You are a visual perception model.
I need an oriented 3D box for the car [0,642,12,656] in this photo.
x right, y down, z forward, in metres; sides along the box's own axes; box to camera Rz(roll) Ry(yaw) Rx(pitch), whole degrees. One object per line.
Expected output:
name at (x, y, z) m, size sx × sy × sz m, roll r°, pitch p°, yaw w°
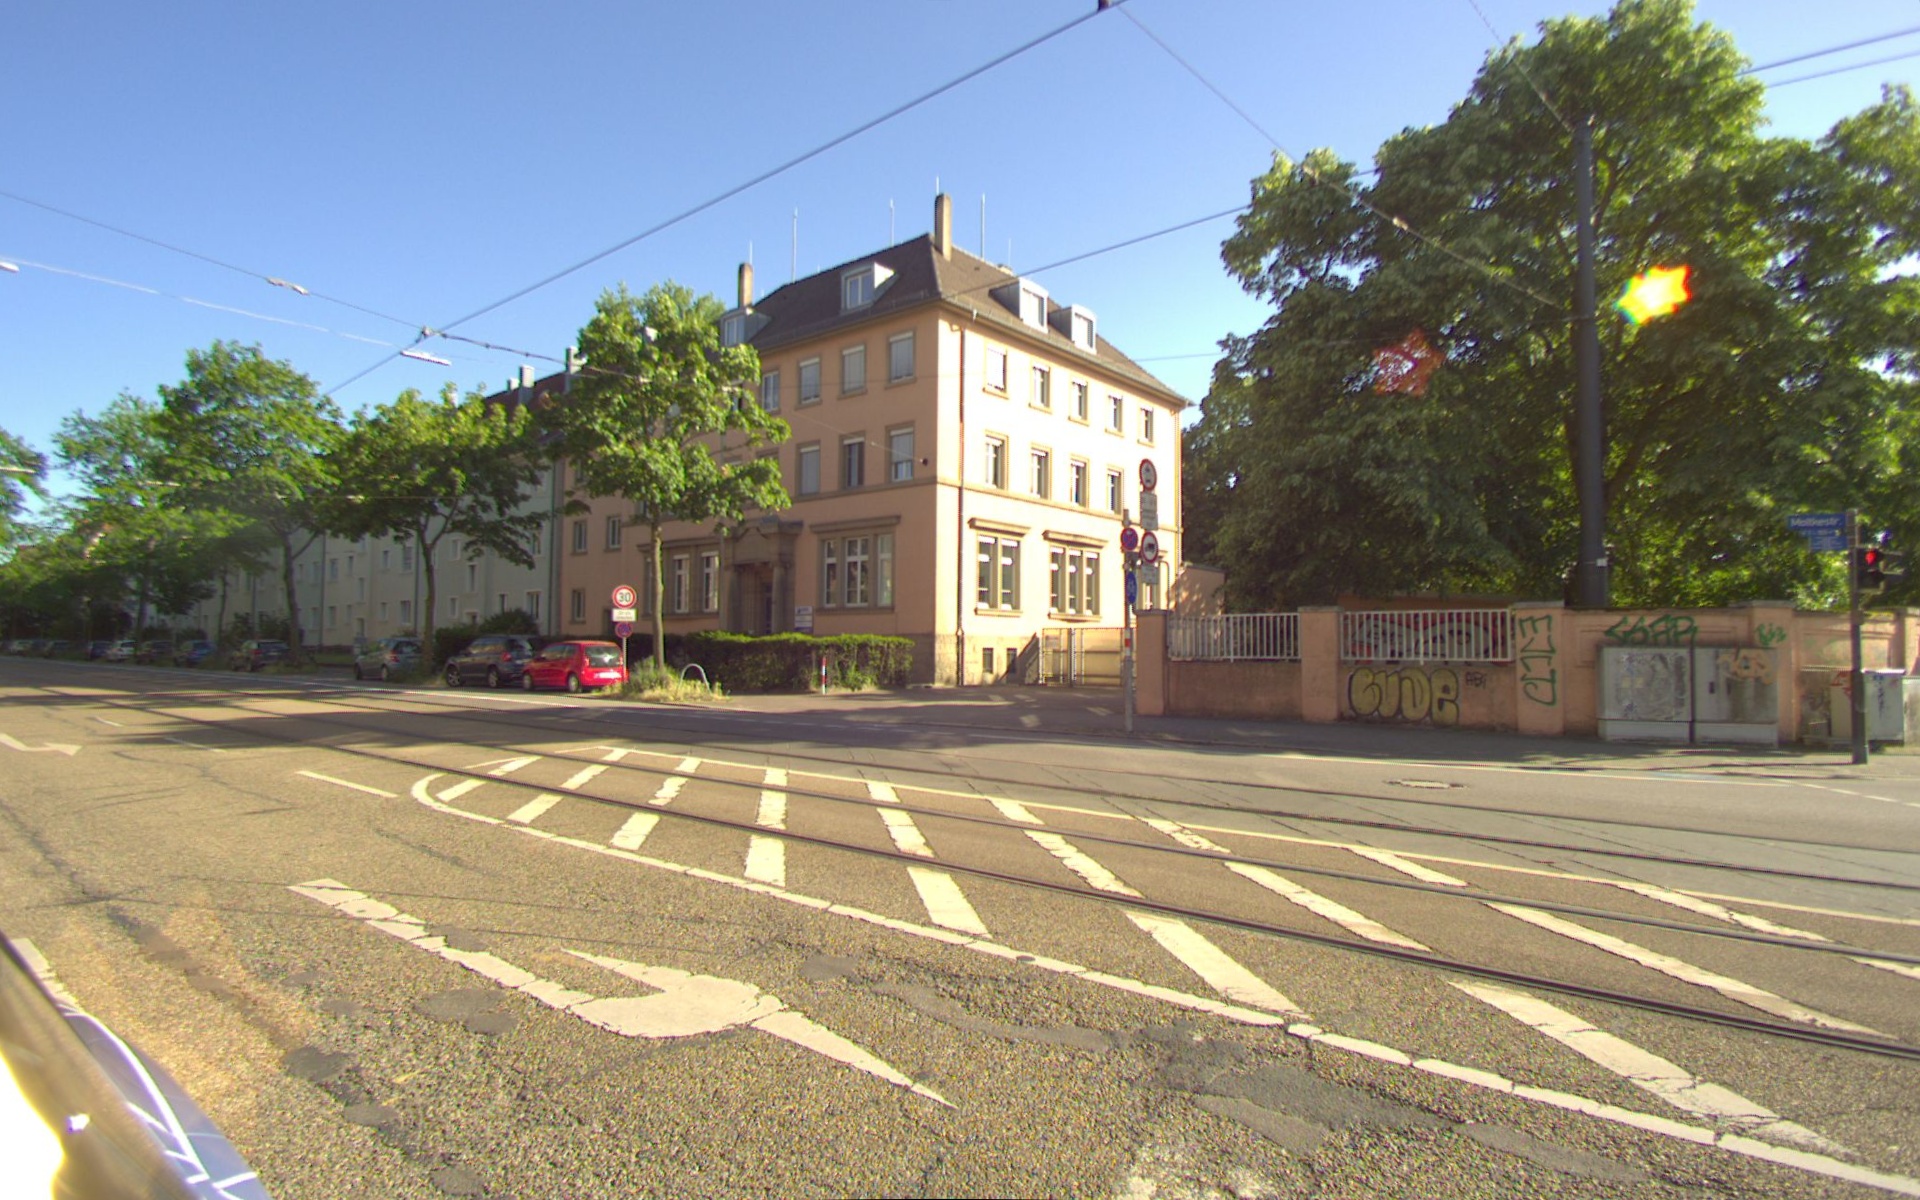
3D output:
car at (-102.848, 5.209, 108.135) m, size 3.626 × 1.535 × 1.793 m, roll -2°, pitch -4°, yaw 39°

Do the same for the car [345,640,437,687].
car at (-21.440, 2.373, 38.067) m, size 3.874 × 1.671 × 1.792 m, roll -2°, pitch -4°, yaw 41°

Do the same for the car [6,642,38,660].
car at (-93.631, 5.074, 101.026) m, size 3.626 × 1.792 × 1.793 m, roll -2°, pitch -4°, yaw 39°

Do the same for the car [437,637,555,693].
car at (-14.813, 2.051, 32.279) m, size 3.813 × 1.671 × 1.794 m, roll -2°, pitch -4°, yaw 37°

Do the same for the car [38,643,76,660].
car at (-76.180, 4.361, 85.363) m, size 3.626 × 1.430 × 1.793 m, roll -2°, pitch -4°, yaw 39°

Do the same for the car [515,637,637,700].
car at (-11.184, 1.956, 29.442) m, size 3.369 × 1.719 × 1.794 m, roll -2°, pitch -4°, yaw 37°

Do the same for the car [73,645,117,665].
car at (-63.470, 4.011, 74.218) m, size 3.626 × 1.430 × 1.793 m, roll -2°, pitch -4°, yaw 39°

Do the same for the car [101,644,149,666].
car at (-56.581, 3.738, 68.557) m, size 3.626 × 1.430 × 1.793 m, roll -2°, pitch -4°, yaw 39°

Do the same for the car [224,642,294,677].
car at (-33.726, 2.847, 48.668) m, size 3.626 × 1.611 × 1.793 m, roll -2°, pitch -4°, yaw 39°

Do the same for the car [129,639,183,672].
car at (-49.564, 3.396, 62.381) m, size 3.626 × 1.956 × 1.793 m, roll -2°, pitch -4°, yaw 39°

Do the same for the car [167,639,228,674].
car at (-42.633, 3.148, 56.535) m, size 3.791 × 1.839 × 1.793 m, roll -2°, pitch -4°, yaw 39°
